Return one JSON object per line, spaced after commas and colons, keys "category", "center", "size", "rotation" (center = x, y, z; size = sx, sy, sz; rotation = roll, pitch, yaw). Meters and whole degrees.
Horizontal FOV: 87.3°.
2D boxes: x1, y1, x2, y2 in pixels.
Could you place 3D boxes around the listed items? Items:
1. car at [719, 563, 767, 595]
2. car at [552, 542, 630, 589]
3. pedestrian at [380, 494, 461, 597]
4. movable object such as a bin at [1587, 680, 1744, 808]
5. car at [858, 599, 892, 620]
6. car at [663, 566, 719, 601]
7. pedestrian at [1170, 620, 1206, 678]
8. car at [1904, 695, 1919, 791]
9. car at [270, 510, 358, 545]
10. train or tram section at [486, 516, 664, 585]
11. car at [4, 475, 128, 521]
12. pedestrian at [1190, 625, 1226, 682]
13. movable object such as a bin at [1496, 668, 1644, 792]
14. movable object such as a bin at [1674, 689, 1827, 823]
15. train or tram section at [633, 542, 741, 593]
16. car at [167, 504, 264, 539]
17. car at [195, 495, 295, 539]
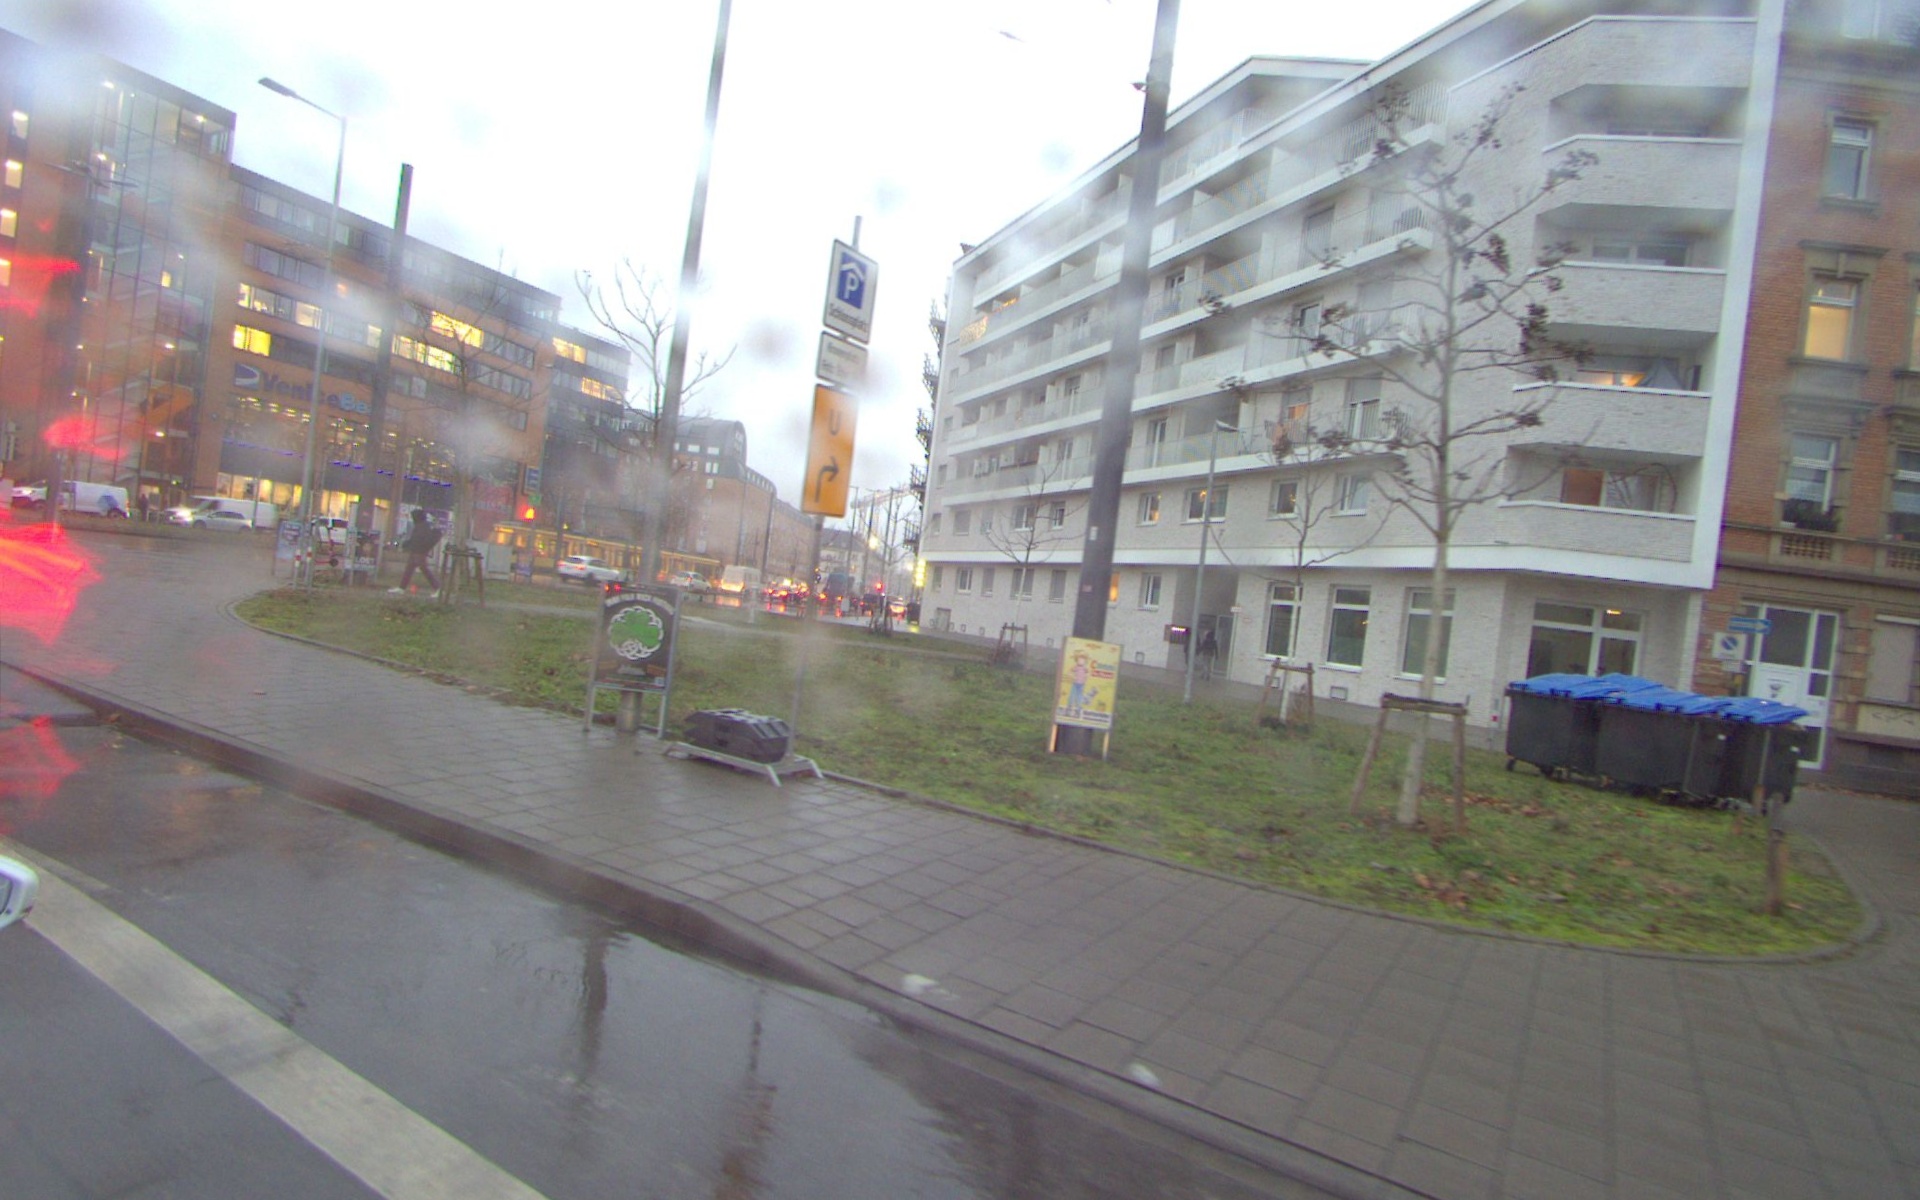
{"category": "car", "center": [-18.130, -1.726, 84.313], "size": [1.962, 2.036, 4.957], "rotation": [8, -2, 10]}
{"category": "car", "center": [-21.702, -2.014, 59.370], "size": [1.962, 2.036, 4.376], "rotation": [8, -2, 15]}
{"category": "pedestrian", "center": [-11.337, -1.131, 21.153], "size": [1.164, 1.946, 0.890], "rotation": [10, -2, -35]}
{"category": "movable object such as a bin", "center": [9.244, 1.870, 13.224], "size": [1.003, 1.434, 1.218], "rotation": [6, 1, -21]}
{"category": "car", "center": [-8.408, 0.963, 99.951], "size": [1.962, 1.600, 4.094], "rotation": [8, -2, 15]}
{"category": "car", "center": [-20.452, -1.211, 76.633], "size": [1.963, 2.036, 4.003], "rotation": [8, -2, 22]}
{"category": "pedestrian", "center": [7.295, 1.570, 32.182], "size": [0.670, 1.733, 0.601], "rotation": [9, -1, -29]}
{"category": "car", "center": [21.963, 3.249, 19.756], "size": [4.661, 1.940, 2.002], "rotation": [9, -2, 3]}
{"category": "car", "center": [-41.917, -4.680, 65.413], "size": [1.767, 1.553, 4.444], "rotation": [7, -1, 24]}
{"category": "train or tram section", "center": [-27.706, -3.378, 74.084], "size": [2.293, 3.300, 16.666], "rotation": [7, -1, 17]}
{"category": "car", "center": [-46.760, -5.295, 52.720], "size": [1.767, 1.614, 4.431], "rotation": [7, -1, 24]}
{"category": "pedestrian", "center": [7.993, 1.726, 32.444], "size": [0.670, 1.733, 0.625], "rotation": [9, -1, -29]}
{"category": "movable object such as a bin", "center": [8.696, 1.836, 14.387], "size": [1.017, 1.513, 1.322], "rotation": [7, 0, -21]}
{"category": "movable object such as a bin", "center": [10.401, 2.029, 13.273], "size": [1.021, 1.507, 1.038], "rotation": [9, -2, -12]}
{"category": "train or tram section", "center": [-23.576, -2.689, 88.091], "size": [2.293, 3.300, 13.005], "rotation": [7, -1, 17]}
{"category": "car", "center": [-44.094, -4.639, 59.670], "size": [1.767, 1.406, 4.227], "rotation": [7, -1, 25]}
{"category": "car", "center": [-45.697, -5.268, 64.446], "size": [1.767, 2.025, 4.852], "rotation": [7, 0, 25]}
